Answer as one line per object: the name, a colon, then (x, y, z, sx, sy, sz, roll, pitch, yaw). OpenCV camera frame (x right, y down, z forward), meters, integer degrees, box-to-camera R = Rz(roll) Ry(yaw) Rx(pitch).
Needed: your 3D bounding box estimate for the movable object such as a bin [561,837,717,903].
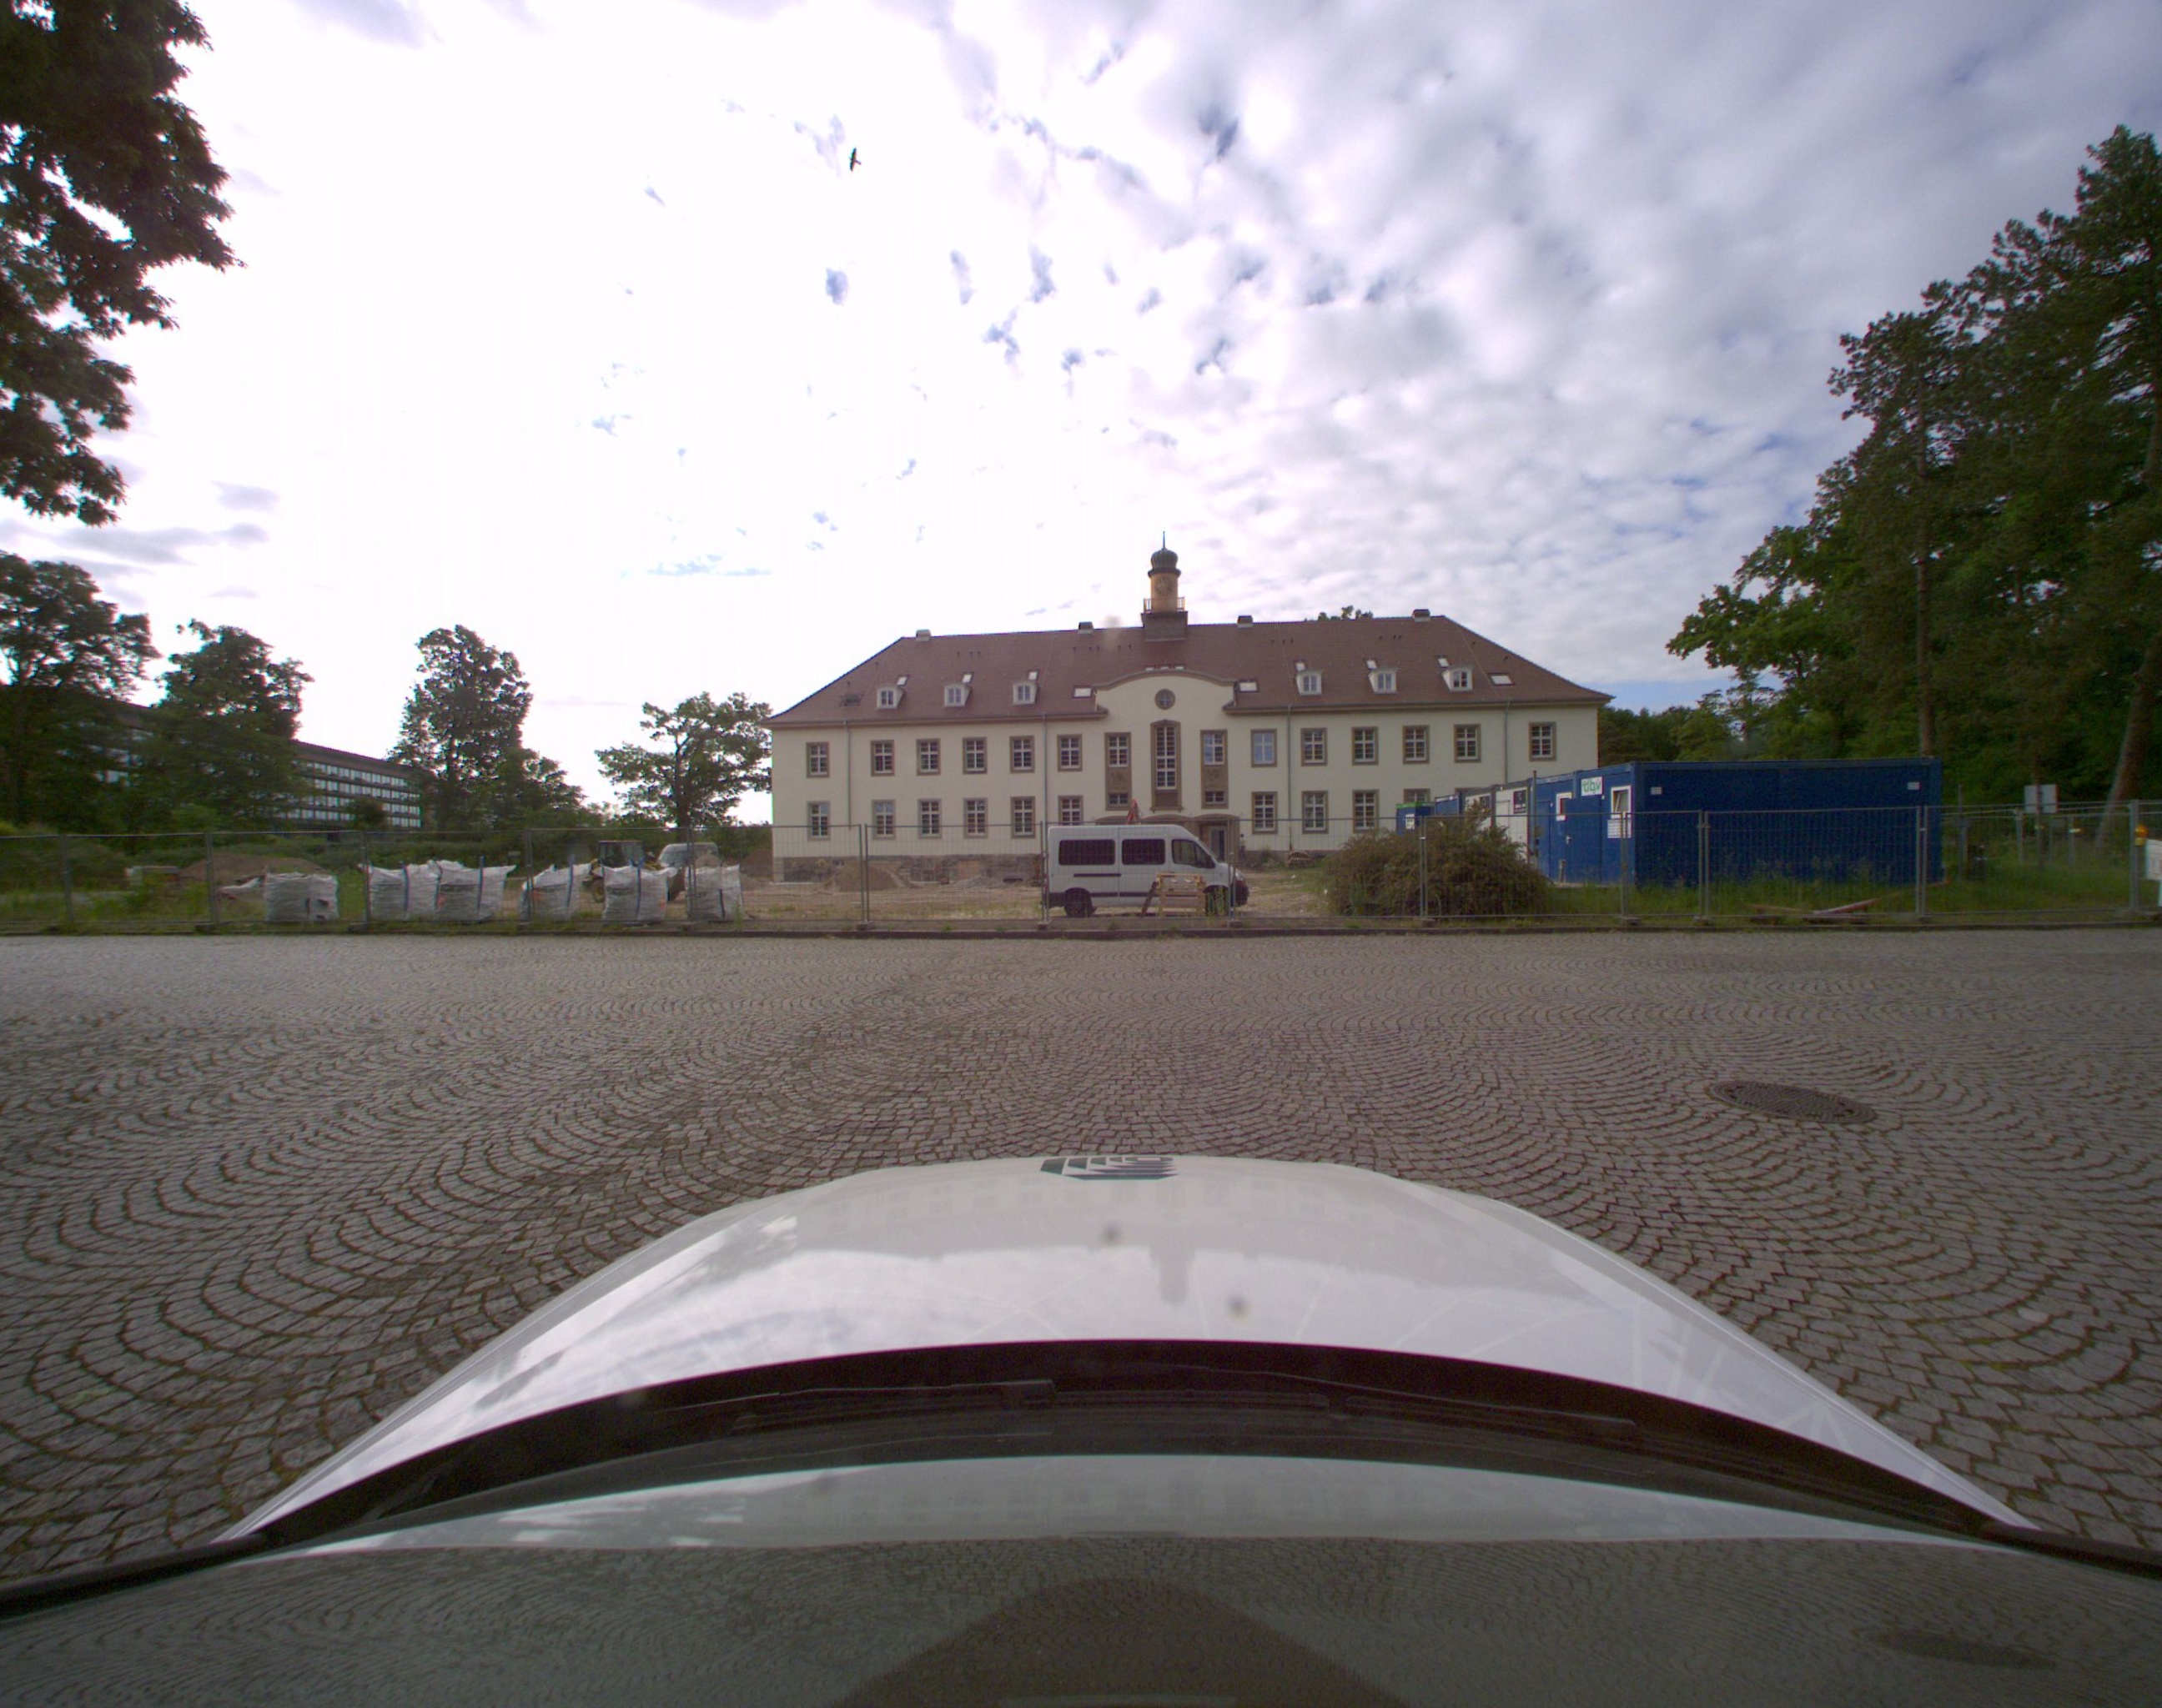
movable object such as a bin: (-18.046, 0.631, 33.371, 5.305, 2.556, 2.002, -1, 0, 4)

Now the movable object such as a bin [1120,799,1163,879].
movable object such as a bin: (2.966, -0.727, 41.102, 1.985, 3.771, 5.321, -1, 0, 3)

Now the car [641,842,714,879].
car: (-25.105, 0.389, 50.900, 2.061, 2.150, 4.898, -1, 0, 0)

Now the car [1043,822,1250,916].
car: (1.750, 0.394, 21.653, 5.234, 2.344, 1.914, -1, 0, 7)
